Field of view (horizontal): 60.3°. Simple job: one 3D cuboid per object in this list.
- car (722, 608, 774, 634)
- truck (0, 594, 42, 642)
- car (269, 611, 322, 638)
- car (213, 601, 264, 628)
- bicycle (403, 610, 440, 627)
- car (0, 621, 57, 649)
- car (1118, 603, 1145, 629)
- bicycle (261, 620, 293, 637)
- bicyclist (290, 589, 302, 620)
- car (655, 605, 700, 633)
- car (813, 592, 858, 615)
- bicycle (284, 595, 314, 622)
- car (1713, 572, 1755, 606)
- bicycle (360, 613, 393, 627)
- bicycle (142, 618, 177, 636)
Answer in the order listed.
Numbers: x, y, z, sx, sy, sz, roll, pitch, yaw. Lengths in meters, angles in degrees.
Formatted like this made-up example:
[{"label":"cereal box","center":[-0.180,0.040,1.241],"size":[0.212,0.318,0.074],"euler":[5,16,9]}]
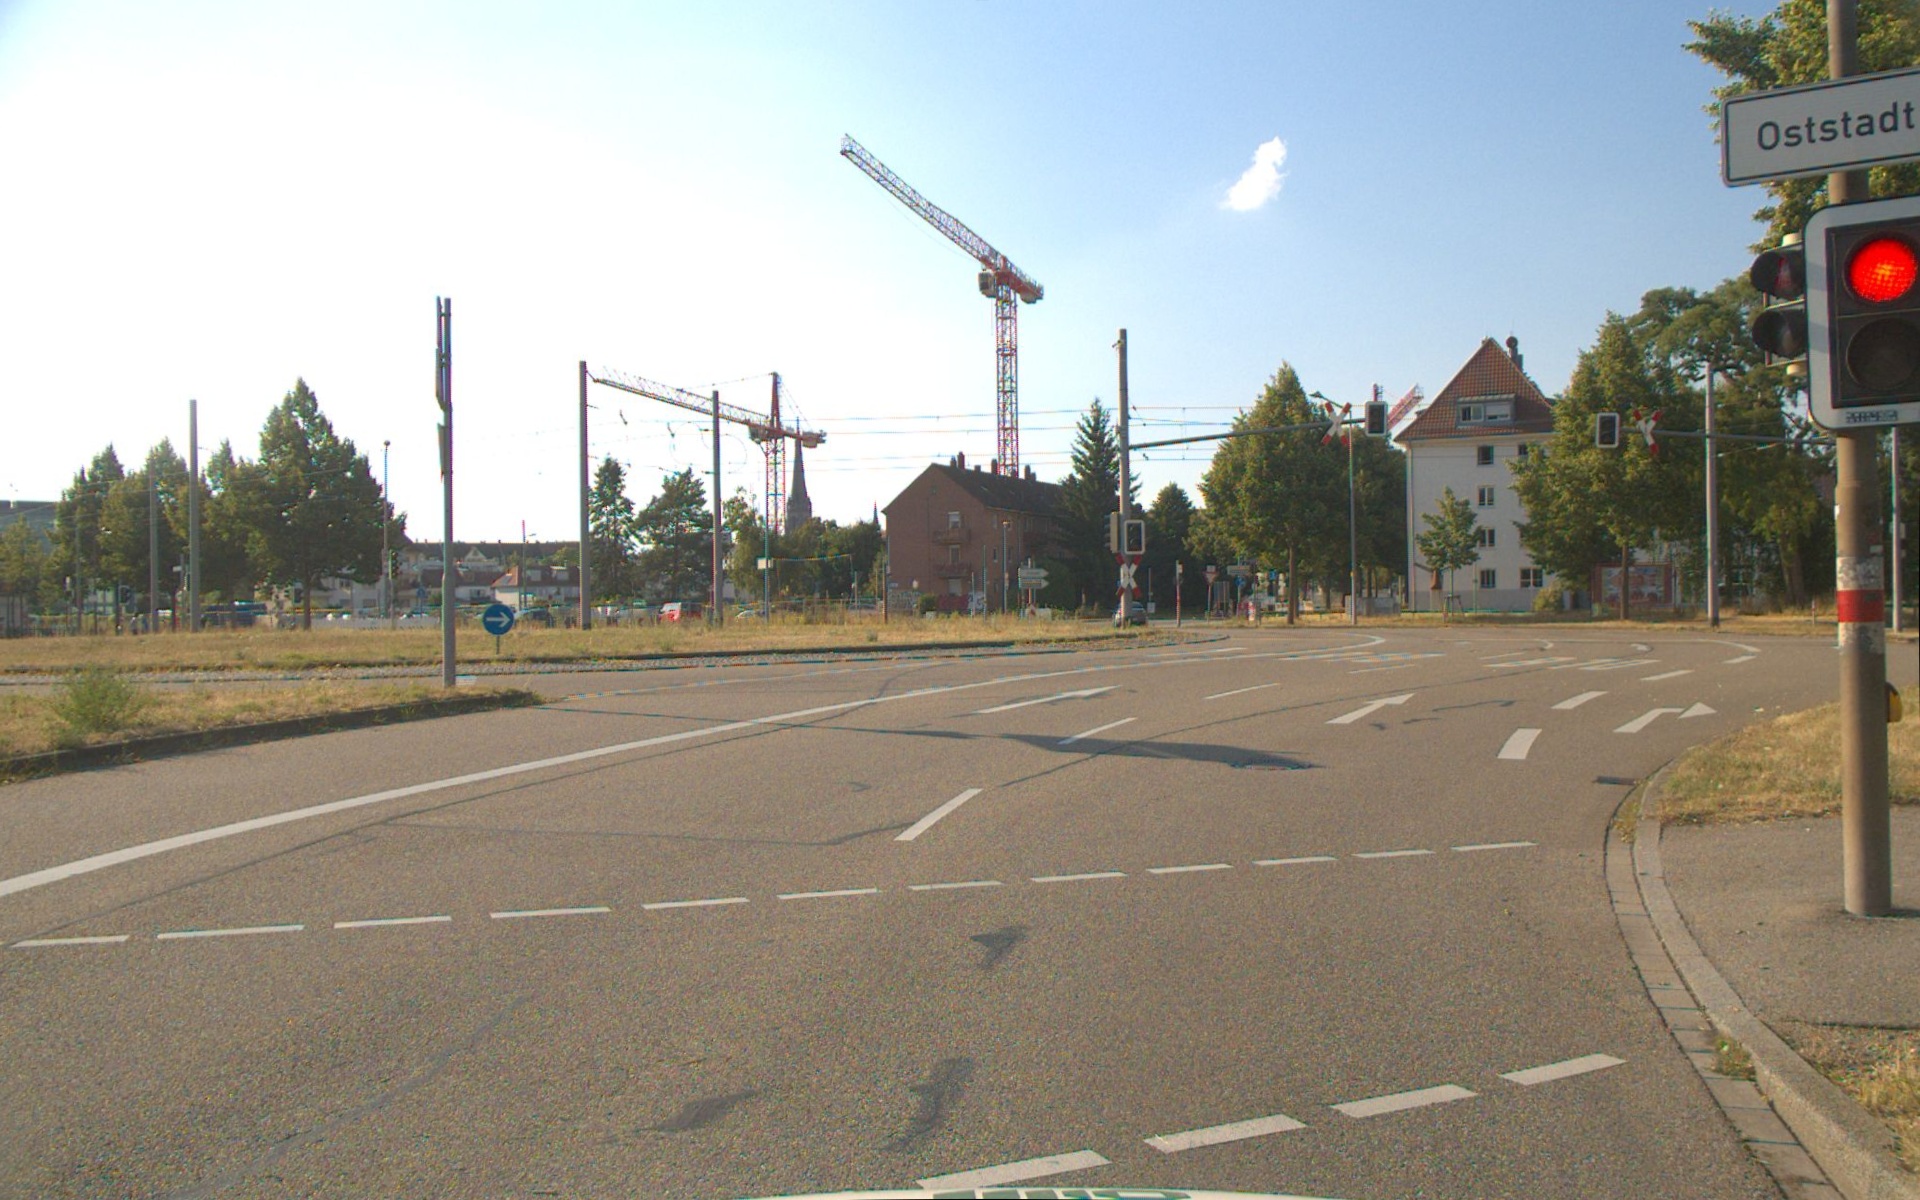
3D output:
[{"label":"car","center":[-16.934,1.686,132.204],"size":[3.728,2.049,1.673],"euler":[-1,-1,18]},{"label":"truck","center":[-67.644,1.276,116.578],"size":[7.050,3.287,3.117],"euler":[-1,0,44]},{"label":"car","center":[-52.157,1.941,129.774],"size":[3.917,2.049,1.994],"euler":[-1,0,34]},{"label":"car","center":[-58.808,1.178,134.728],"size":[3.917,2.049,1.994],"euler":[-1,0,34]},{"label":"bicycle","center":[-30.205,1.034,92.792],"size":[1.949,0.934,0.429],"euler":[-1,0,-6]},{"label":"car","center":[-46.648,1.749,82.611],"size":[2.644,1.283,1.100],"euler":[-1,0,-35]},{"label":"car","center":[9.369,0.862,90.583],"size":[1.424,1.323,3.551],"euler":[-1,0,6]},{"label":"bicycle","center":[-37.967,1.591,91.897],"size":[1.595,0.875,0.540],"euler":[-1,0,-27]},{"label":"bicyclist","center":[-36.754,0.259,91.543],"size":[0.599,1.701,0.474],"euler":[-1,-1,-27]},{"label":"car","center":[-19.783,1.344,115.737],"size":[1.899,1.886,3.959],"euler":[-1,0,-30]},{"label":"car","center":[-11.277,0.304,149.649],"size":[3.728,2.049,1.673],"euler":[-1,-1,18]},{"label":"bicycle","center":[-36.611,0.471,91.608],"size":[1.521,1.499,0.475],"euler":[-1,0,-27]},{"label":"car","center":[38.667,-0.532,82.609],"size":[1.737,1.646,3.963],"euler":[-1,-1,27]},{"label":"bicycle","center":[-33.138,1.132,93.937],"size":[1.696,0.757,0.476],"euler":[-1,0,-27]},{"label":"bicycle","center":[-41.455,1.410,85.628],"size":[1.595,0.875,0.540],"euler":[-1,0,-27]}]
